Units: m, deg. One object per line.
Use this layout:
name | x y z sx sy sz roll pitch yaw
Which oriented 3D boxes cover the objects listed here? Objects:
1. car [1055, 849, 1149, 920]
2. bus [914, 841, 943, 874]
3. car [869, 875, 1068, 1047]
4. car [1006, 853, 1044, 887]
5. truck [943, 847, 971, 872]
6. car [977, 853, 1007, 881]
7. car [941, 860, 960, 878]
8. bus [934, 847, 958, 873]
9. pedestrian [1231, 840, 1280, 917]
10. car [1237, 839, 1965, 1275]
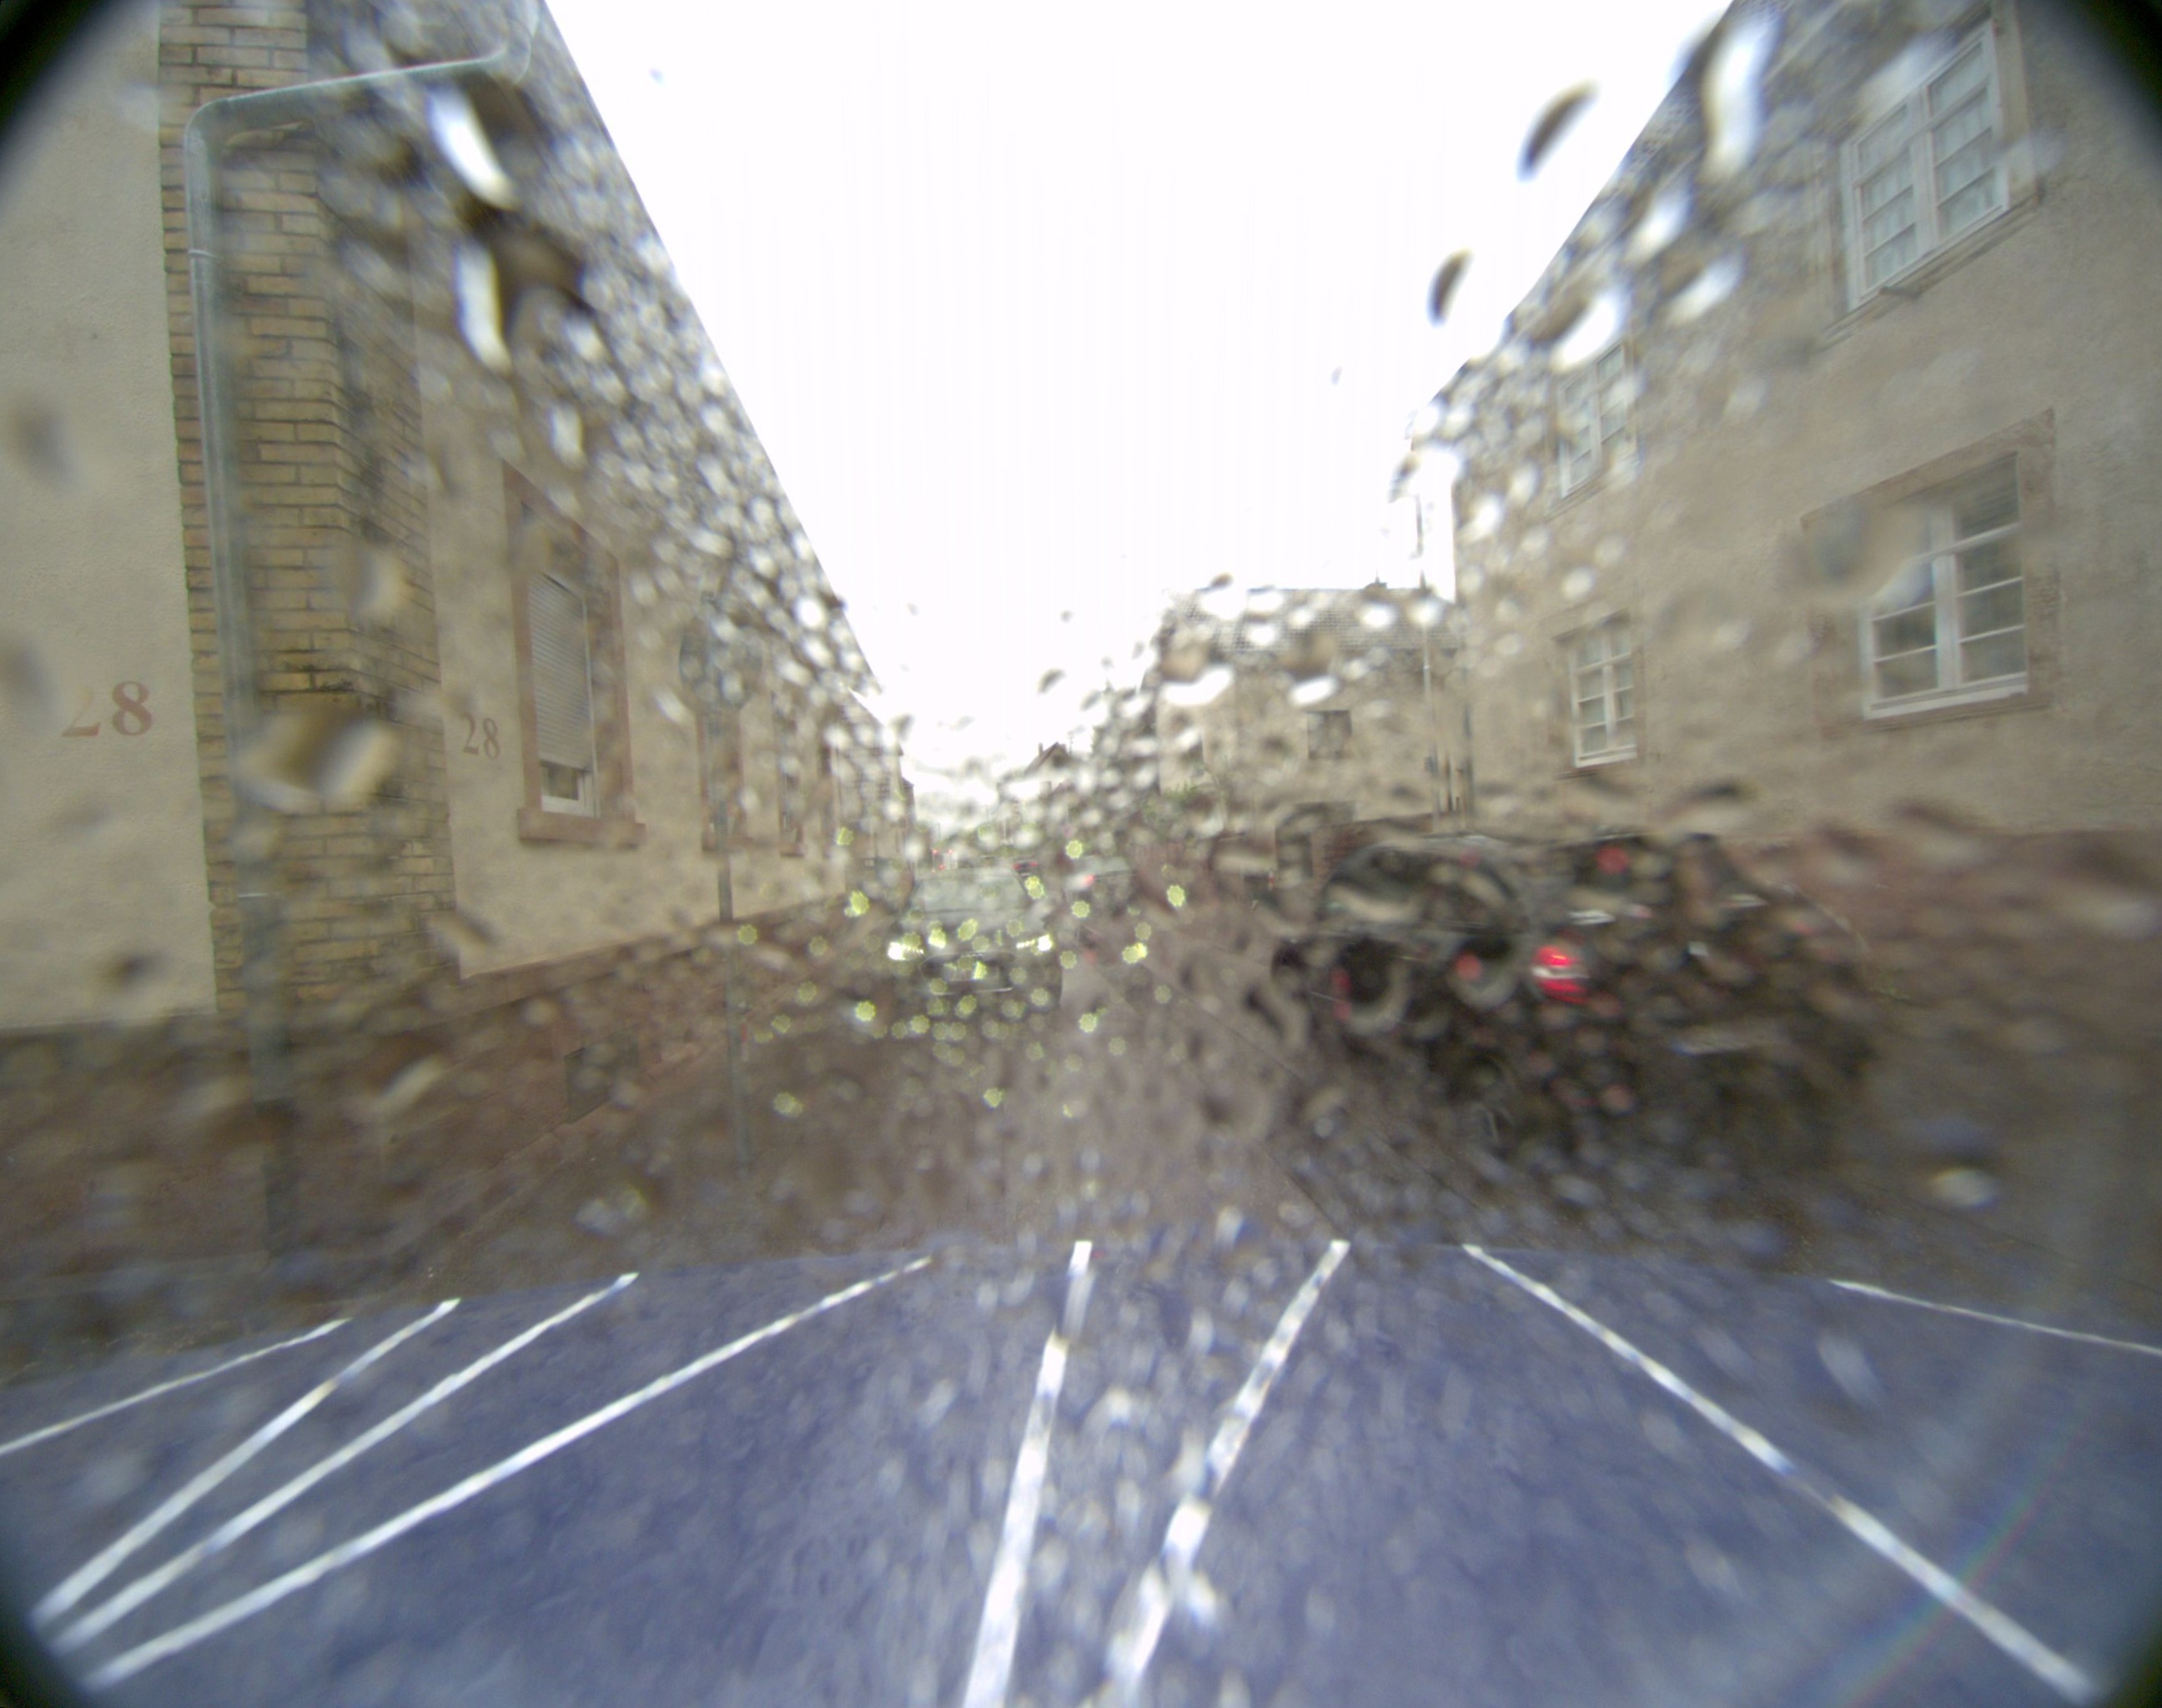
car | 0.420 0.687 19.855 1.701 1.500 4.338 -5 1 -7
bus | -16.220 0.328 80.512 2.670 3.213 12.178 -2 1 -12
car | -1.331 1.018 8.975 1.740 1.363 4.098 -2 0 -9
car | -2.953 0.774 39.502 1.627 1.502 3.790 -6 1 -8
truck | -13.159 0.544 81.114 1.999 2.490 5.649 -2 1 -1
car | -6.175 0.869 52.602 1.786 1.655 4.422 -5 2 -8
car | -15.805 1.762 91.824 2.001 2.002 3.995 -2 1 -13
bus | -18.107 0.760 101.525 2.670 3.213 12.178 -2 1 -12
pedestrian | 3.634 0.502 15.879 0.574 1.529 0.832 -5 1 -12
car | 2.411 0.740 4.709 1.609 1.504 3.685 -4 1 -8
